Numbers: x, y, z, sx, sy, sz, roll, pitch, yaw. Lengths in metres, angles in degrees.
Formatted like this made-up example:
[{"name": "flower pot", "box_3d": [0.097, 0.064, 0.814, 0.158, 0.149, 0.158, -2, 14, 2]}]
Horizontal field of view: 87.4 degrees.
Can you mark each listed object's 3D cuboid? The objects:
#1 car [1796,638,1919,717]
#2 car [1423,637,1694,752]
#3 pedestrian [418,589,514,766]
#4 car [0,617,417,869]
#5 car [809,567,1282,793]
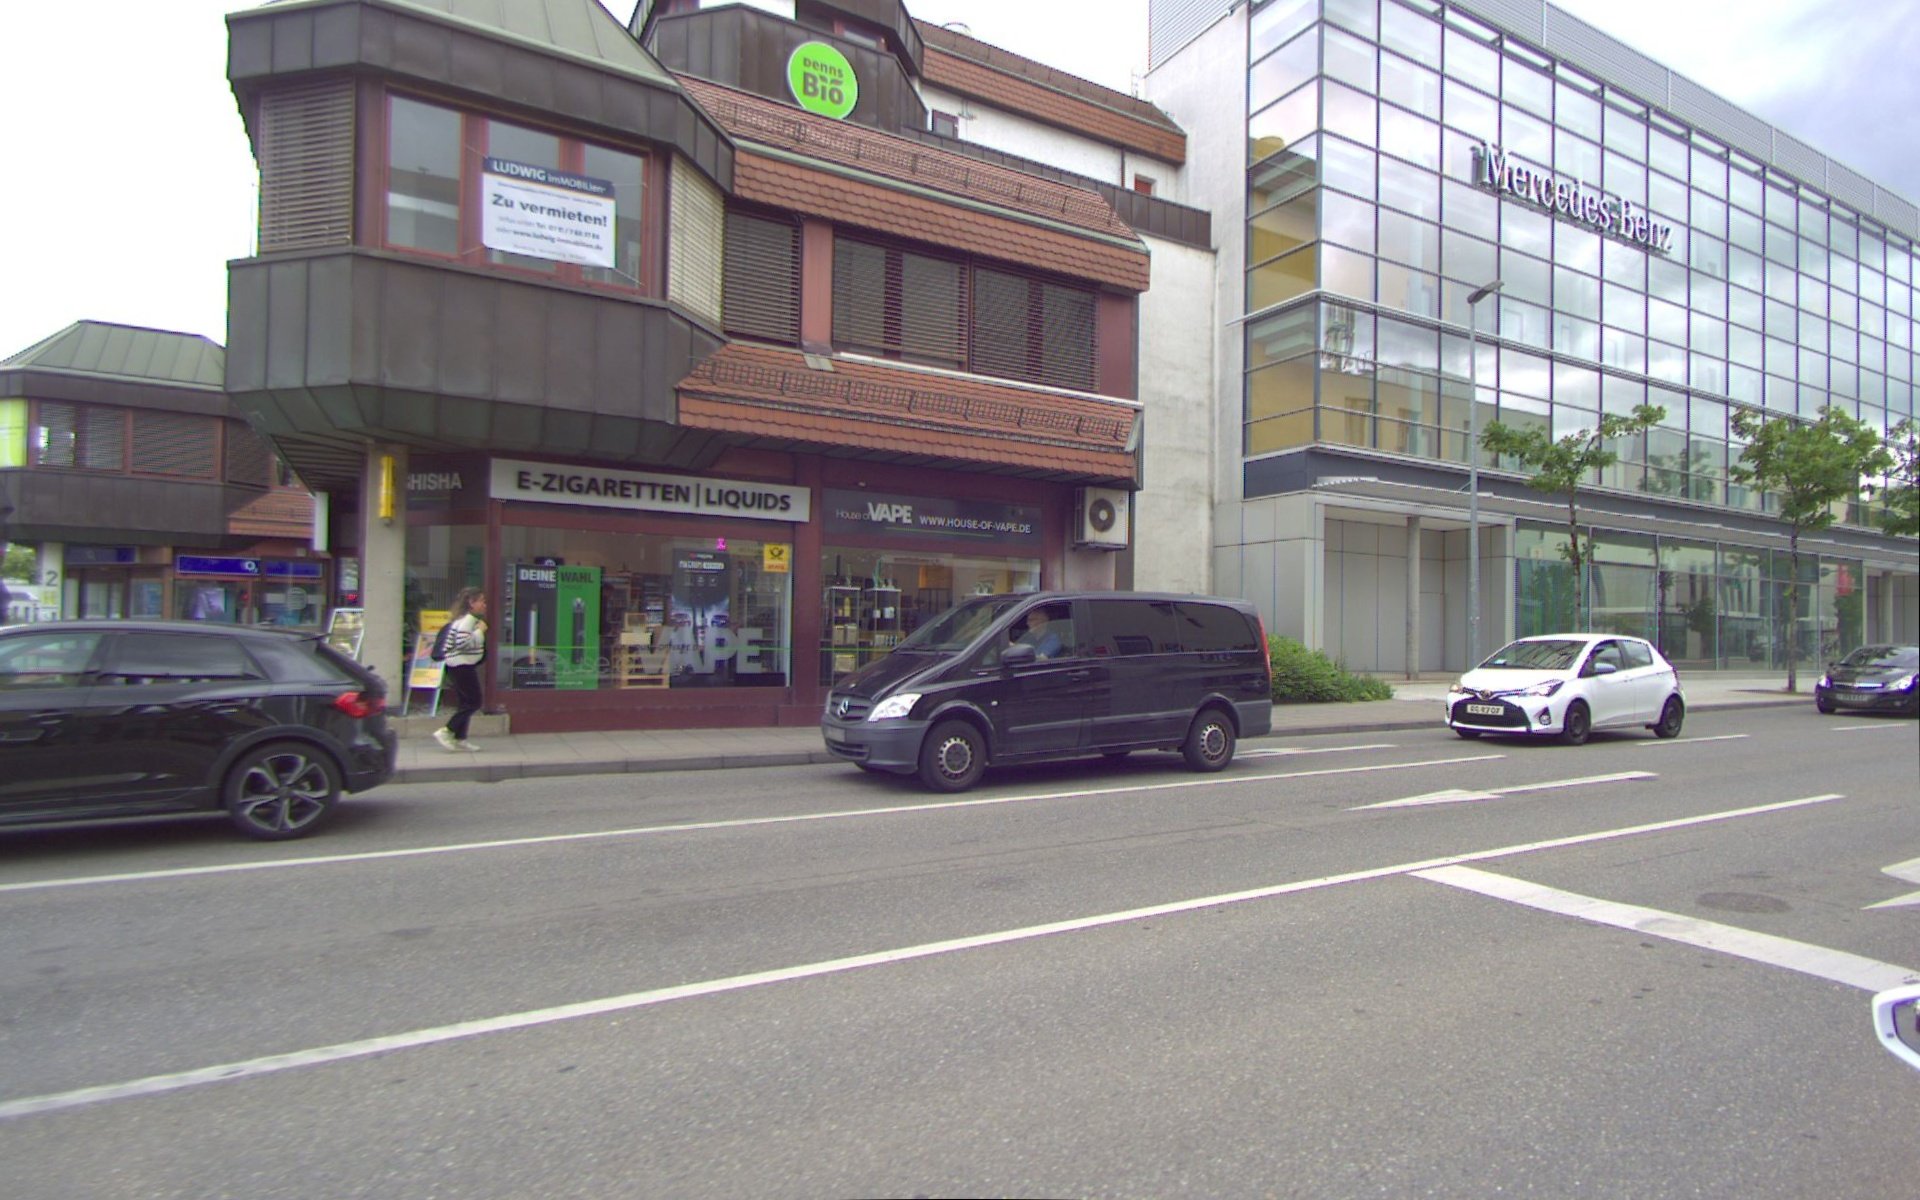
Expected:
[{"name": "car", "box_3d": [19.332, 1.559, 20.919, 3.952, 1.499, 1.653, 1, -2, -29]}, {"name": "car", "box_3d": [8.751, 1.287, 14.628, 3.952, 1.484, 1.653, 1, -2, -29]}, {"name": "pedestrian", "box_3d": [-5.057, 0.762, 10.276, 0.769, 1.715, 0.744, 1, -1, -34]}, {"name": "car", "box_3d": [-5.920, 0.858, 6.700, 3.955, 1.462, 1.693, 2, -1, -32]}, {"name": "car", "box_3d": [1.003, 0.773, 10.665, 4.841, 1.935, 1.857, 2, -2, -30]}]
